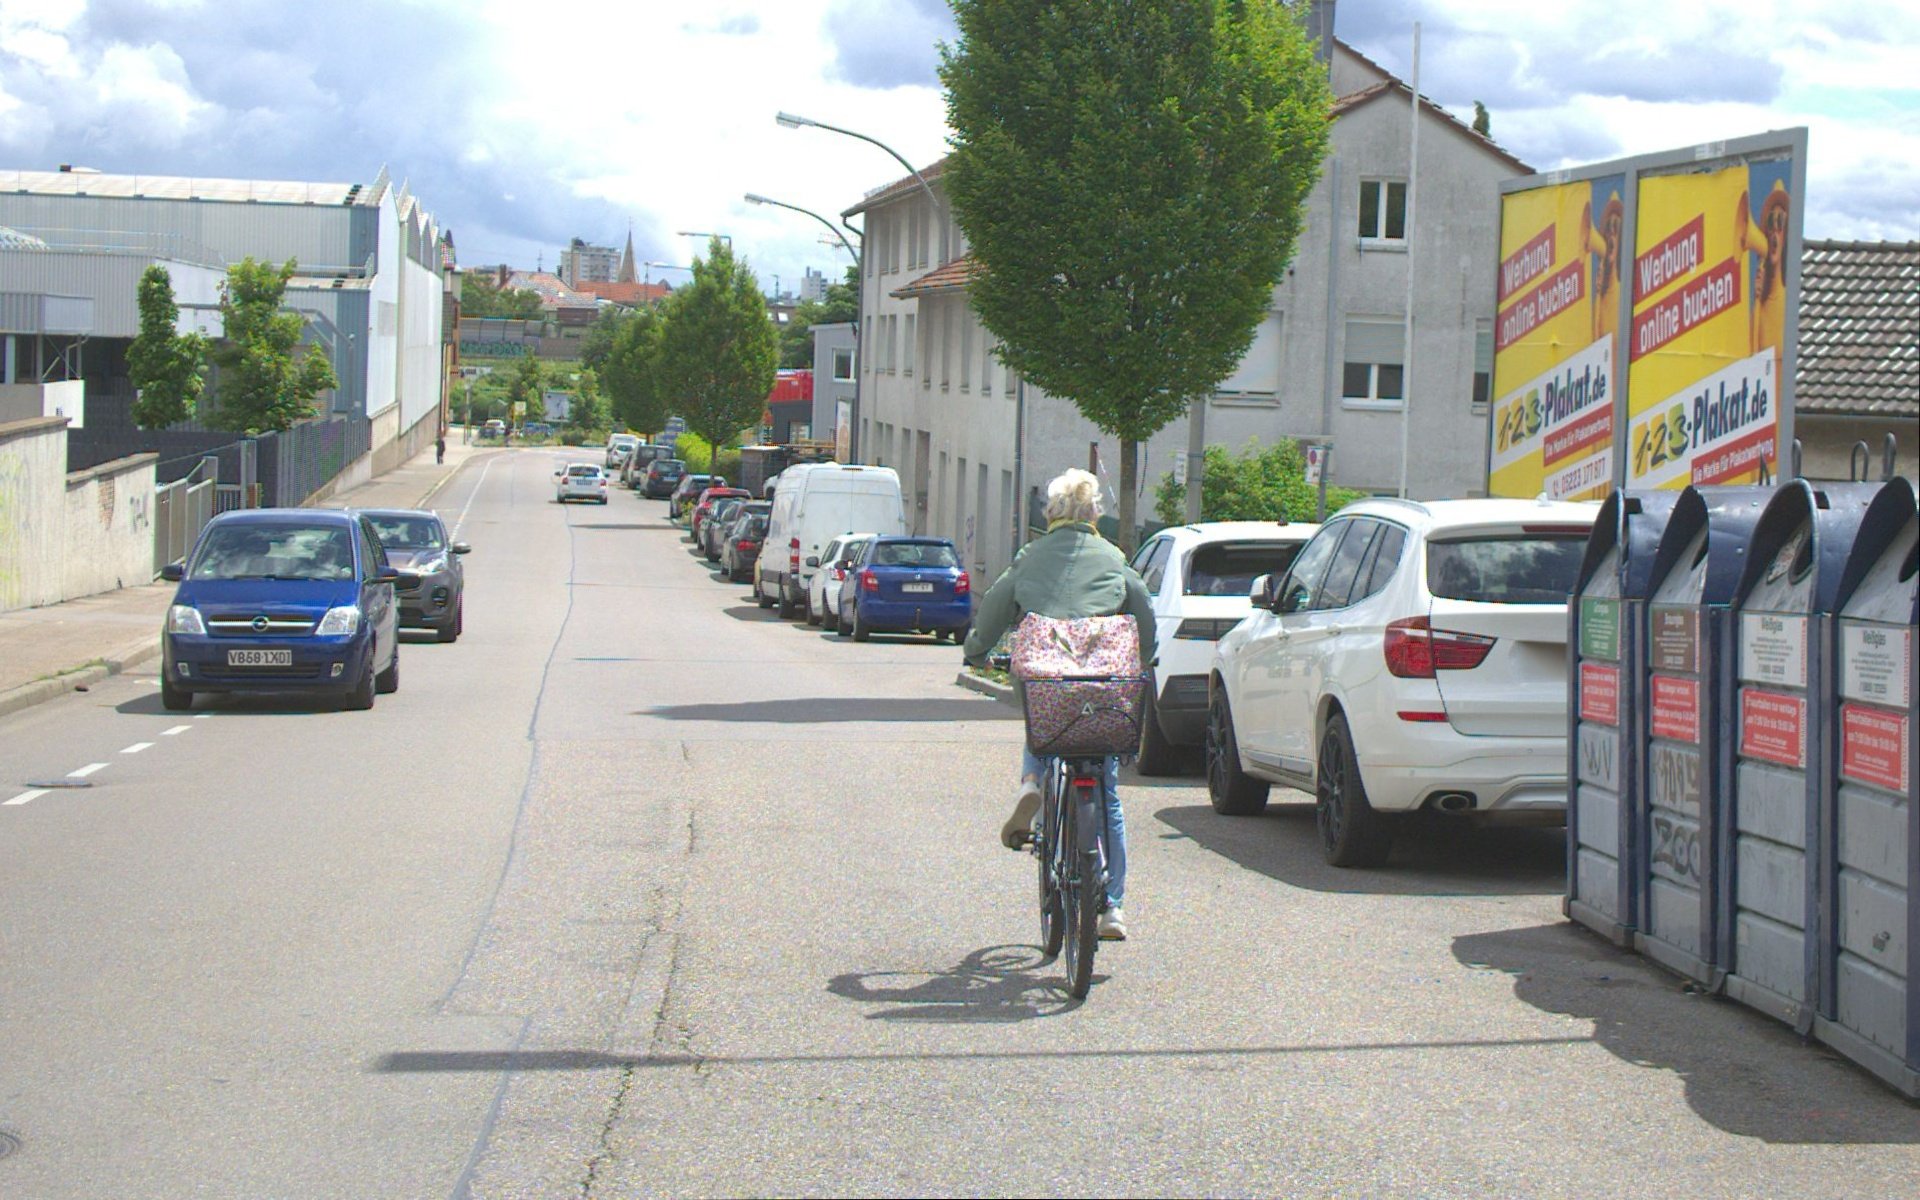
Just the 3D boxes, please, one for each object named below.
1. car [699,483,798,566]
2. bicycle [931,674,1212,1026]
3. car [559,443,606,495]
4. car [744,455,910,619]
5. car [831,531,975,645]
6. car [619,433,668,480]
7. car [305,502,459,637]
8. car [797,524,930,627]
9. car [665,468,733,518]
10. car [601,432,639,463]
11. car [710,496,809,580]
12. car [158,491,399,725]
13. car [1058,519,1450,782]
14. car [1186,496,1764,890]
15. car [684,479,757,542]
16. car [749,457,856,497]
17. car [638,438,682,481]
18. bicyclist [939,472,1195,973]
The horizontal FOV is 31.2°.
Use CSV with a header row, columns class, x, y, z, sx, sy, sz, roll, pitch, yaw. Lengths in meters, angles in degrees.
class,x,y,z,sx,sy,sz,roll,pitch,yaw
car,-5.071,-1.817,81.798,1.676,1.632,4.798,3,3,-11
bicycle,0.340,0.801,11.595,0.740,0.972,1.733,2,2,-4
car,-13.654,-4.728,124.253,1.566,1.780,3.606,2,1,-7
car,-2.410,-1.114,60.051,2.033,2.632,7.285,2,1,-8
car,-0.852,-0.210,49.071,1.566,1.505,4.095,2,1,-7
car,-13.923,-6.325,151.028,1.868,1.983,5.146,2,3,-7
car,-7.257,-0.417,43.469,1.799,1.616,4.094,0,1,-8
car,-1.548,-0.407,53.902,1.592,1.505,3.791,2,1,-8
car,-8.373,-3.445,109.911,1.791,1.460,4.710,2,2,-9
car,-19.279,-8.642,194.776,1.700,1.522,3.740,4,3,-11
car,-4.482,-1.399,76.257,1.704,1.504,5.089,4,3,-8
car,-5.612,0.025,28.655,1.626,1.811,3.781,0,1,-6
car,1.810,0.253,22.616,1.841,1.560,4.467,0,1,-5
car,2.342,0.353,16.841,1.685,1.653,4.481,1,1,-6
car,-6.579,-2.466,93.991,1.734,1.467,4.263,2,4,-7
car,-5.981,-4.684,130.499,4.072,1.457,1.721,2,5,45
car,-11.904,-5.584,136.337,1.679,1.632,4.124,2,3,-6
bicyclist,0.348,0.397,11.615,0.739,1.621,0.732,2,1,-4
